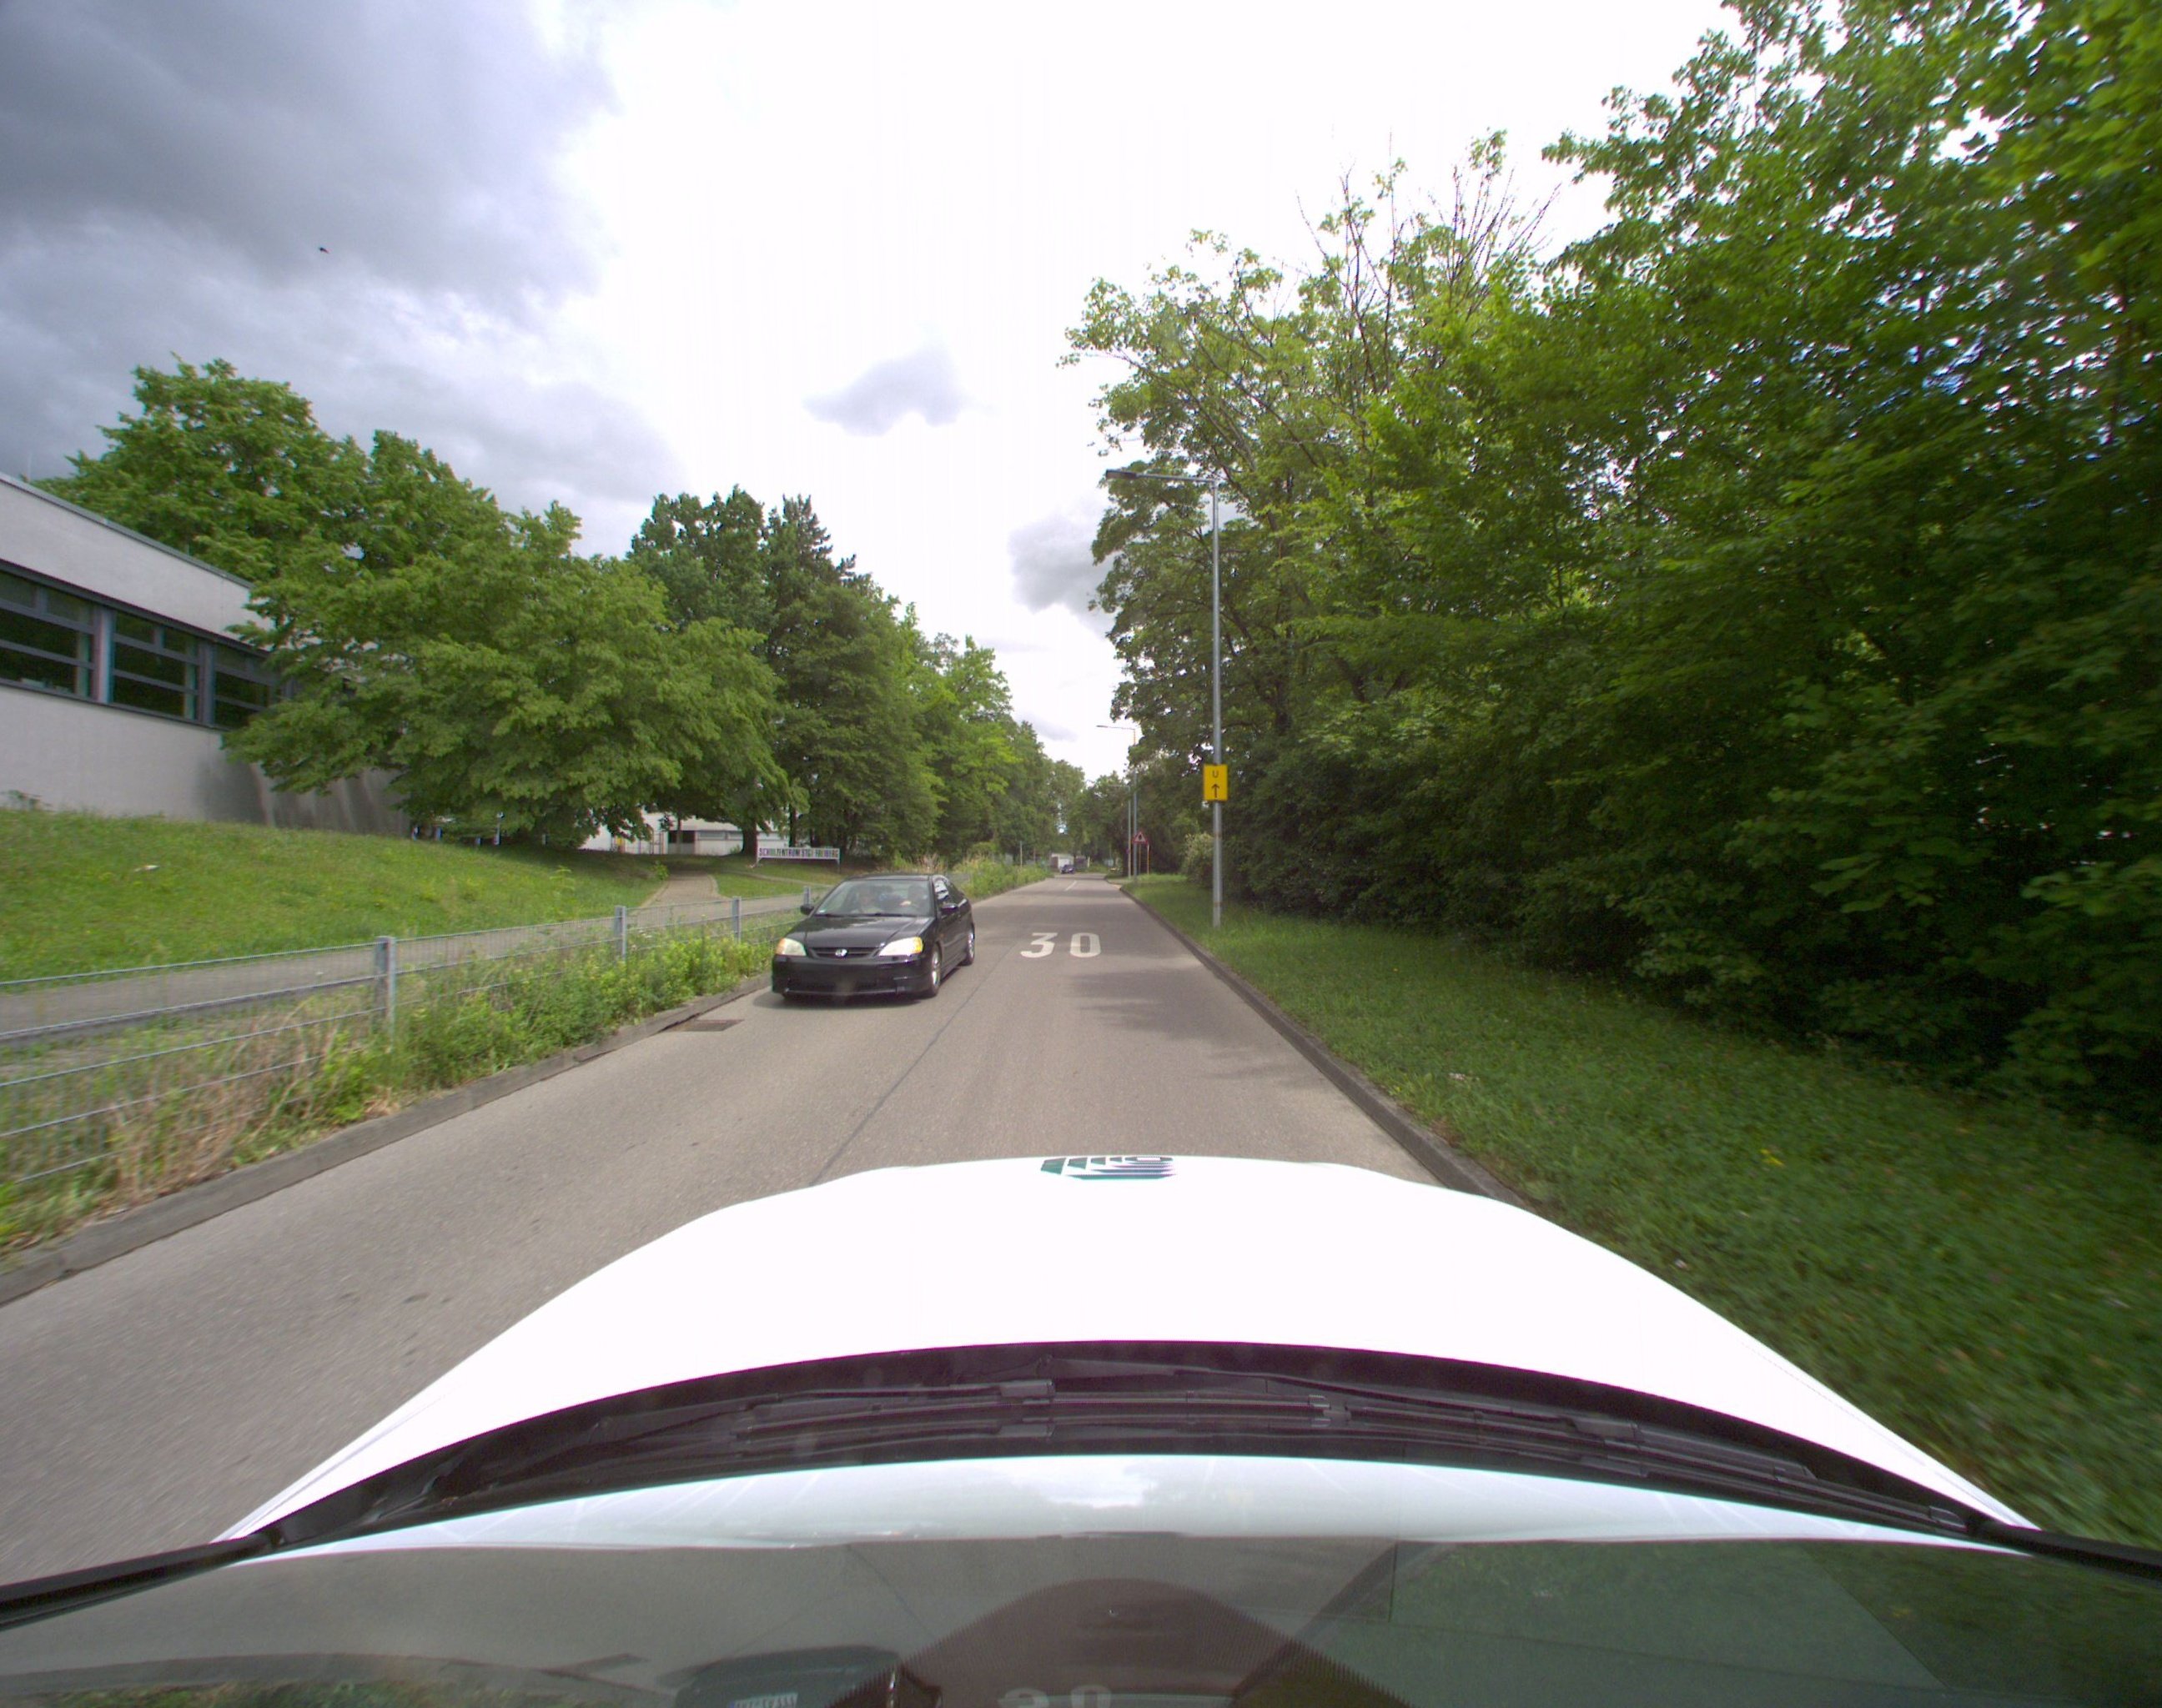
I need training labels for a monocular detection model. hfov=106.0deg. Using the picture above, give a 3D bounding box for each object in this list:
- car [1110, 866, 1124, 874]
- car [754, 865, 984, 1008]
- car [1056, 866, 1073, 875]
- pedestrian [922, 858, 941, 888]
[{"bbox_3d":[7.166,3.227,162.299,1.846,1.492,4.015,-3,-3,15],"label":"car"},{"bbox_3d":[-2.369,0.855,10.206,1.686,1.349,4.096,-1,0,2],"label":"car"},{"bbox_3d":[-2.539,2.514,125.025,1.968,1.383,4.009,1,-1,8],"label":"car"},{"bbox_3d":[-10.000,1.278,54.504,0.872,2.014,0.867,1,-5,-44],"label":"pedestrian"}]
